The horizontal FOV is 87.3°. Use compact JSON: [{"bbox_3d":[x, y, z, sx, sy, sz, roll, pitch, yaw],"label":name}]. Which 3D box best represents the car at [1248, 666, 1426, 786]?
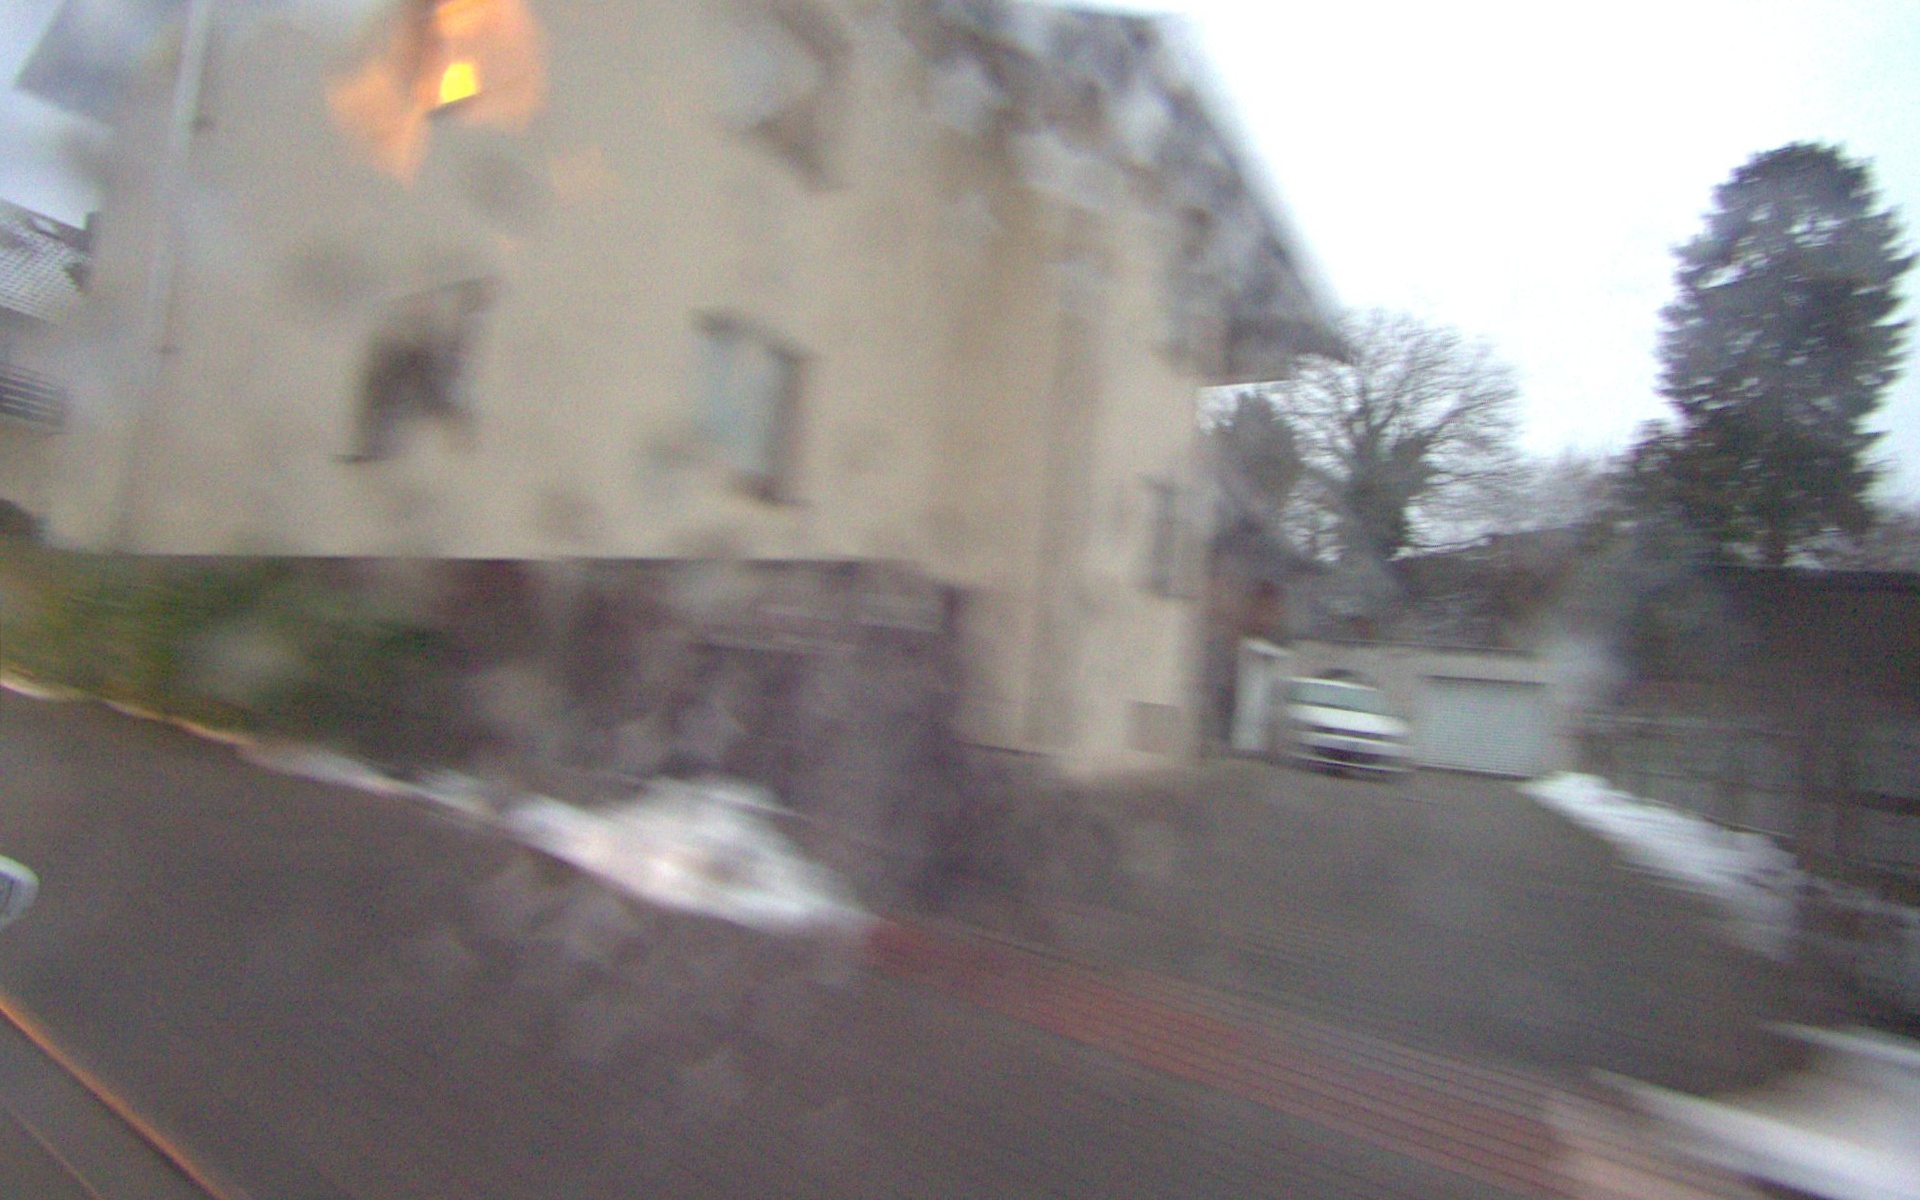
[{"bbox_3d":[5.820,1.941,16.021,1.703,1.421,4.010,7,-4,9],"label":"car"}]
